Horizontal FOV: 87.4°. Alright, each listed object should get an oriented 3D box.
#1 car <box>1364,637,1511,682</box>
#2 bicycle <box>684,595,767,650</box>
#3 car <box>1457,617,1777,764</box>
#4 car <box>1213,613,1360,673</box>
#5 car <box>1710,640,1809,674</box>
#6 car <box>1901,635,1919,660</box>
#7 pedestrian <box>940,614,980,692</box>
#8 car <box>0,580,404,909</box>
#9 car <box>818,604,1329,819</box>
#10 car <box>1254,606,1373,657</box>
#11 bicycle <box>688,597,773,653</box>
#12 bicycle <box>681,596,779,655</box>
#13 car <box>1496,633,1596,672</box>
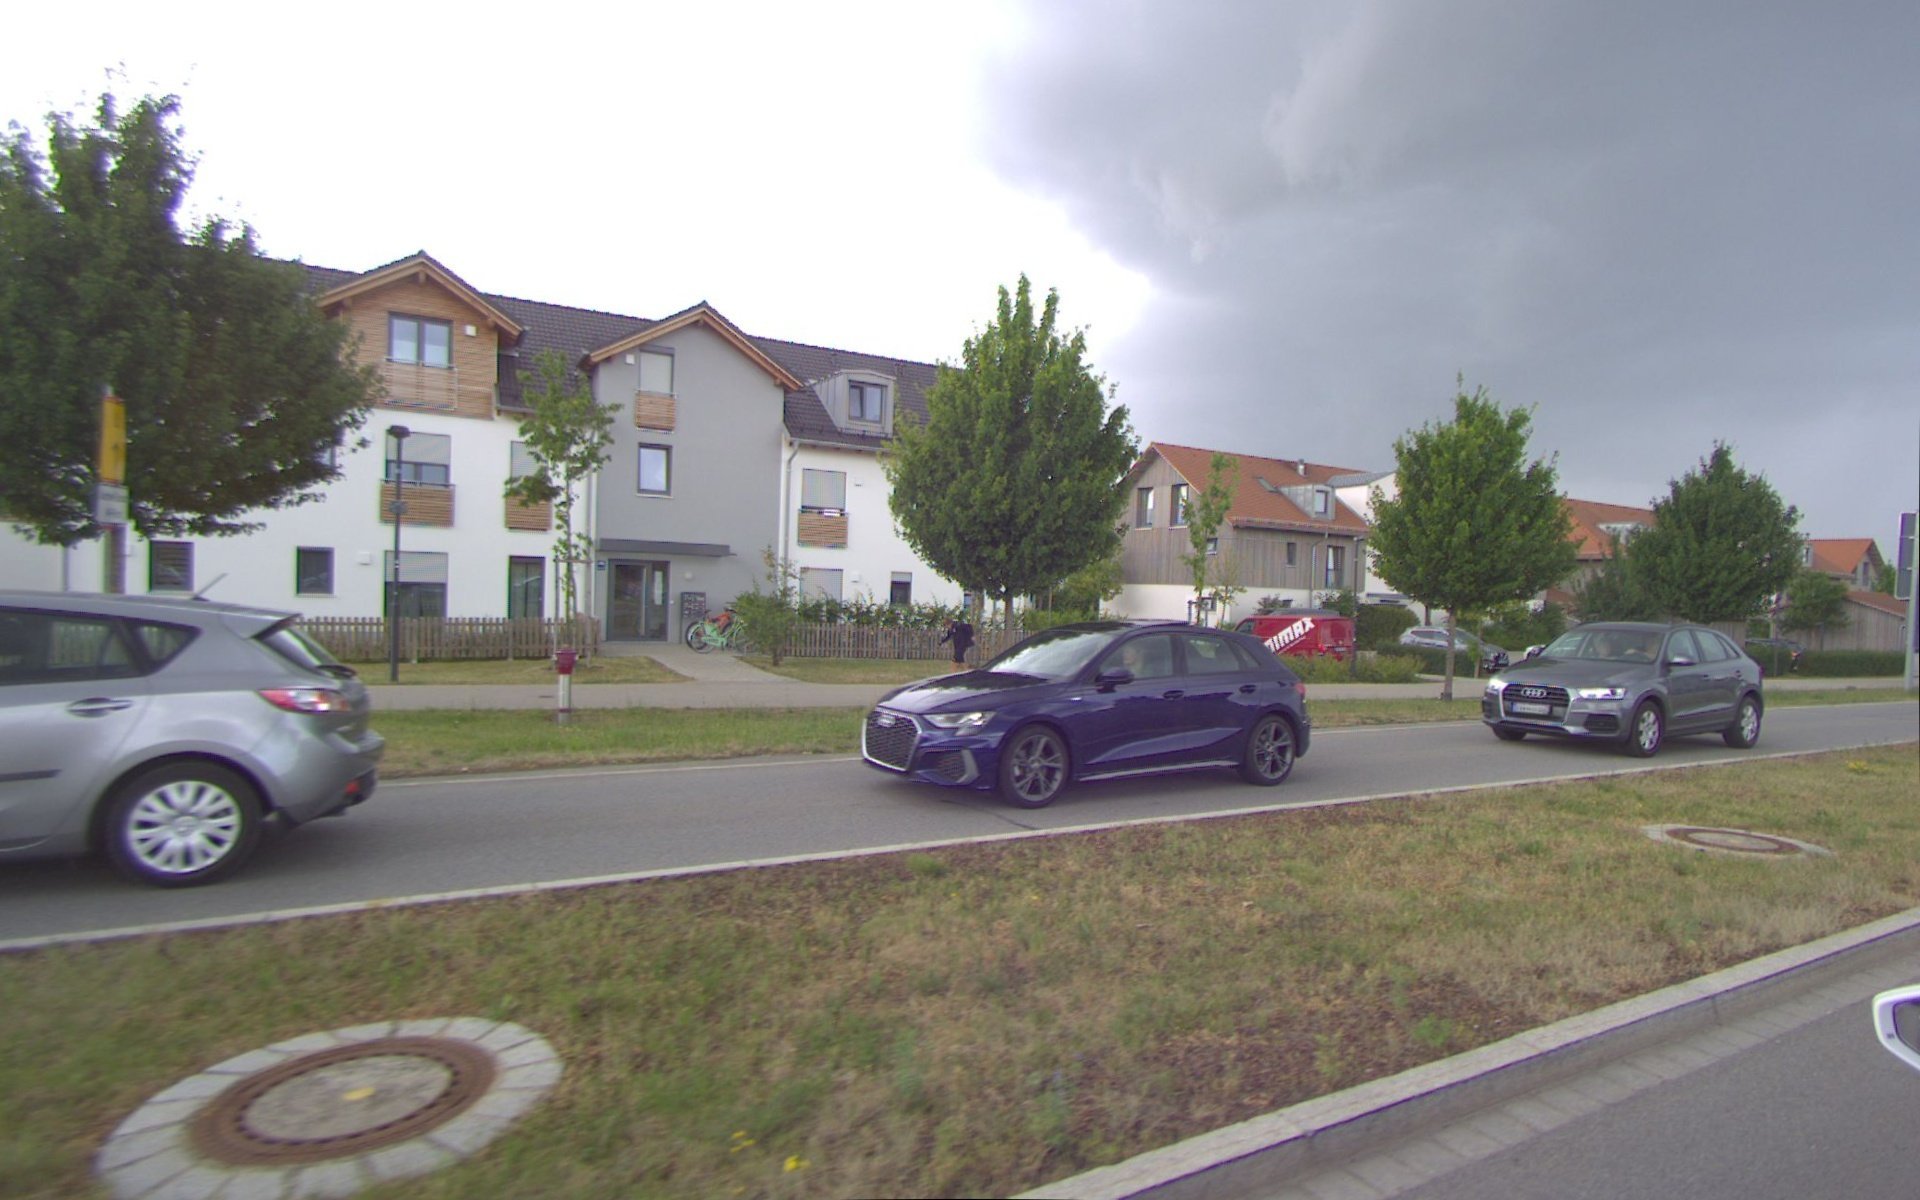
[{"bbox_3d":[17.967,2.217,38.075,1.883,1.449,4.884,1,-1,-29],"label":"car"},{"bbox_3d":[-6.379,0.631,27.375,2.070,1.447,0.679,2,-1,-31],"label":"bicycle"},{"bbox_3d":[8.529,1.067,12.974,4.167,1.603,1.817,2,-1,-31],"label":"car"},{"bbox_3d":[10.838,1.388,33.767,1.880,1.840,4.891,1,-1,-25],"label":"car"},{"bbox_3d":[39.279,2.762,49.420,1.545,1.509,3.497,1,-1,-30],"label":"car"},{"bbox_3d":[64.187,3.208,65.247,1.976,1.577,3.969,1,2,-29],"label":"car"},{"bbox_3d":[-0.004,1.081,20.607,0.579,1.550,0.543,1,2,-30],"label":"pedestrian"},{"bbox_3d":[-5.262,0.655,5.155,4.167,1.508,1.817,2,-1,-31],"label":"car"},{"bbox_3d":[1.094,0.837,8.934,4.300,1.508,1.817,2,-1,-31],"label":"car"},{"bbox_3d":[15.889,1.423,45.139,5.135,2.041,1.985,2,4,-28],"label":"car"},{"bbox_3d":[-6.078,0.664,26.626,2.070,1.436,0.679,2,-1,-31],"label":"bicycle"},{"bbox_3d":[-5.836,0.654,25.555,2.317,1.431,0.679,2,-1,-31],"label":"bicycle"},{"bbox_3d":[25.615,2.268,43.984,1.545,1.509,3.497,1,-1,-30],"label":"car"}]
